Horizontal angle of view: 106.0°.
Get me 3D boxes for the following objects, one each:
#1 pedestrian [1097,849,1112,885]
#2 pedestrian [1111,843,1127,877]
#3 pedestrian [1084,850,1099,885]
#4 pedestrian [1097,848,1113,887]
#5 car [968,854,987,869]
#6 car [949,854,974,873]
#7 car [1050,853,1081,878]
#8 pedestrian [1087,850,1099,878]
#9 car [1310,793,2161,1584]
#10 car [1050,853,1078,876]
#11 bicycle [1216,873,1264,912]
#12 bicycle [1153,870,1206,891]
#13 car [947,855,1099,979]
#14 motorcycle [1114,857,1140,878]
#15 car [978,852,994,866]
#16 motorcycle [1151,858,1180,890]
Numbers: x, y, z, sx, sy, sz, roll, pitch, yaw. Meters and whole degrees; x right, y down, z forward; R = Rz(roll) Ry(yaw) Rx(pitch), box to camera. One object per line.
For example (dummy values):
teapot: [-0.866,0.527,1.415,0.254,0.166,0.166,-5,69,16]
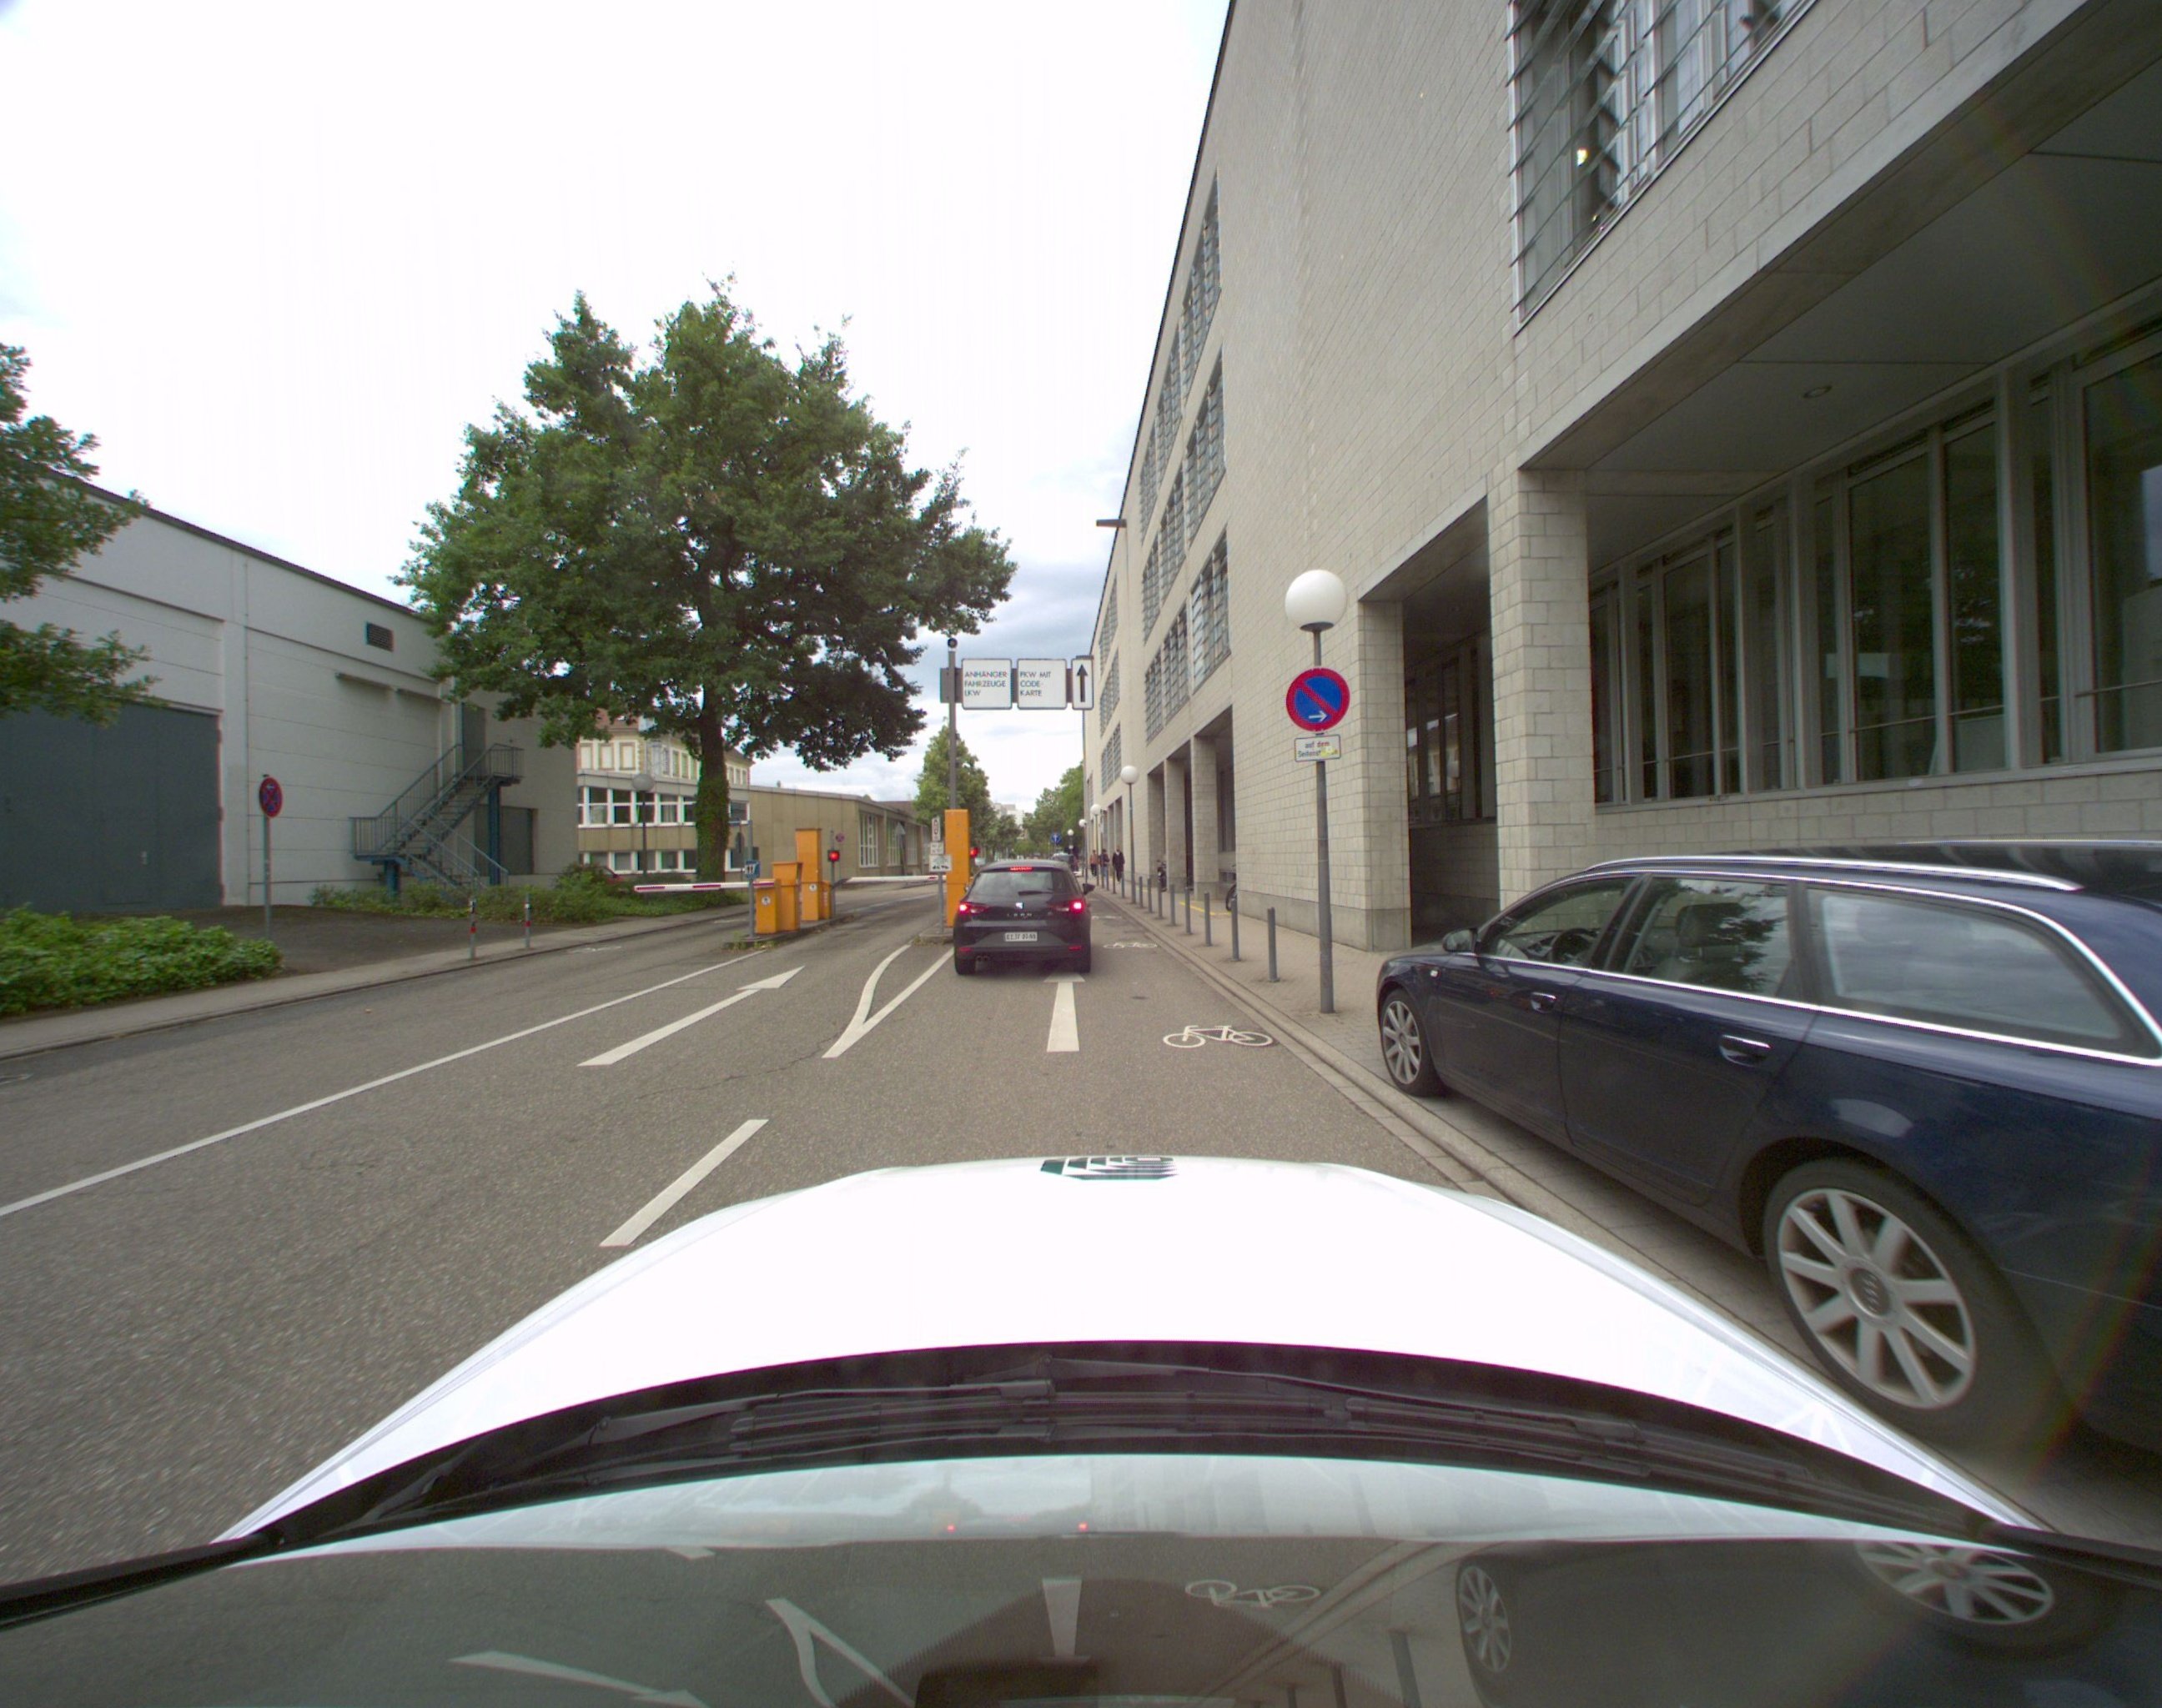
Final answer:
pedestrian: [1.146,0.619,39.717,0.688,1.698,0.587,0,2,-4]
pedestrian: [1.922,0.299,40.885,0.727,1.698,0.586,0,2,-8]
pedestrian: [0.494,0.648,39.625,0.695,1.714,0.488,-1,0,-4]
pedestrian: [1.076,0.588,36.334,0.609,1.714,0.574,-2,0,-1]
car: [-11.749,0.863,92.447,1.766,1.601,3.996,-1,0,-3]
car: [-10.211,0.805,69.730,1.766,1.601,3.995,-1,0,-4]
car: [-1.121,0.842,58.224,1.989,1.622,4.422,-2,-1,-3]
pedestrian: [0.763,0.622,51.166,0.694,1.714,0.489,-1,0,1]
car: [2.868,0.610,3.857,1.989,1.452,4.918,-1,0,-2]
car: [-1.314,0.752,62.746,1.989,1.622,4.424,-3,0,-3]
bicycle: [3.871,0.912,19.736,0.458,0.751,2.309,-6,-1,27]
bicycle: [3.597,0.970,29.833,1.894,0.698,0.492,0,2,-7]
car: [-0.789,0.746,11.720,1.778,1.419,4.125,-1,0,-3]
motorcycle: [2.803,0.794,49.567,0.753,1.148,2.677,1,2,22]
car: [-11.440,0.624,97.972,1.767,1.601,3.993,-1,0,-5]
motorcycle: [3.420,0.794,32.940,0.561,1.148,2.229,1,2,22]
